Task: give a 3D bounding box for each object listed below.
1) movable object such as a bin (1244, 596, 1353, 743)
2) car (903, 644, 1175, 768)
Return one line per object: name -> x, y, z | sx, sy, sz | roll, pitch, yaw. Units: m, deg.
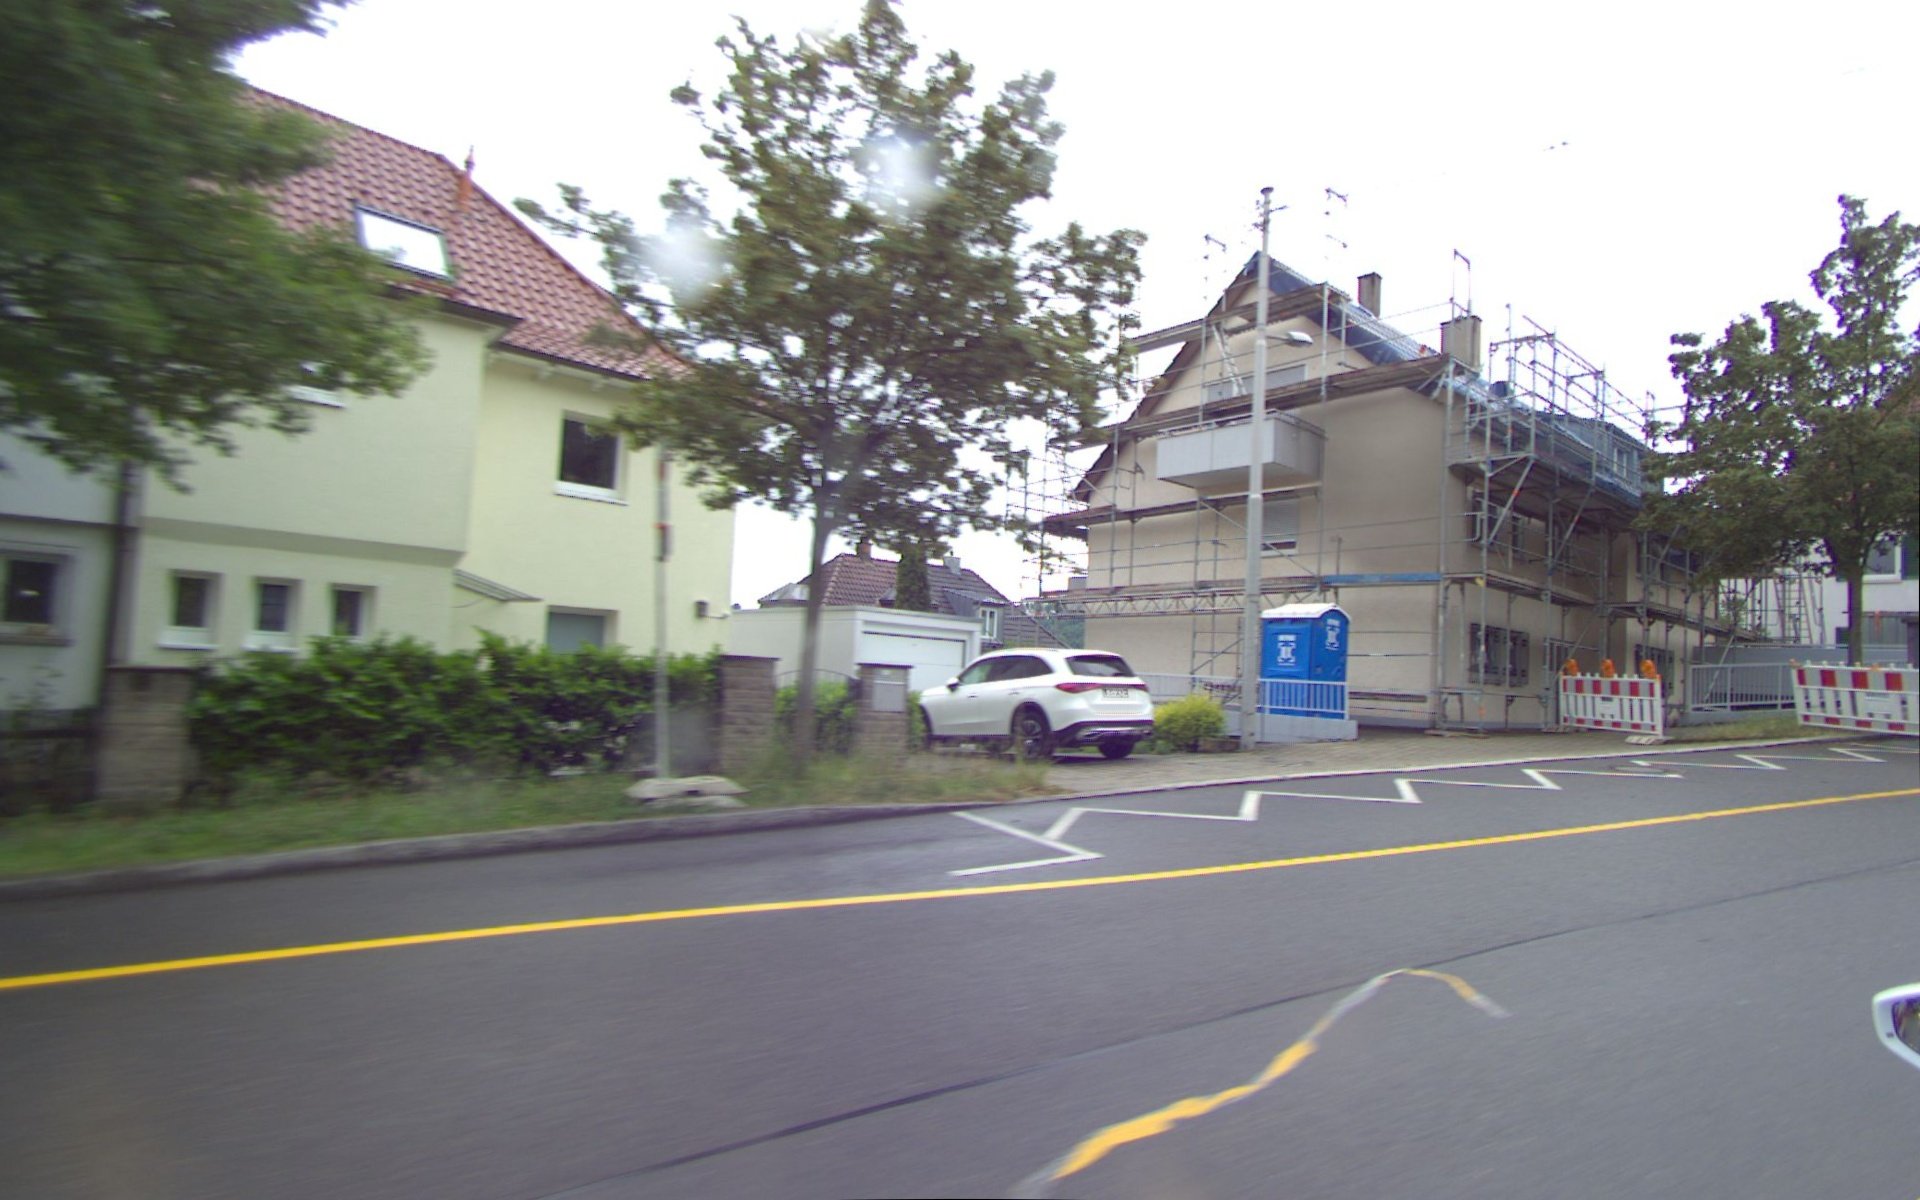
movable object such as a bin -> 6.132, 1.232, 18.218 | 1.373, 2.538, 1.304 | 2, -2, -35
car -> 1.070, 1.607, 15.526 | 1.933, 1.624, 4.168 | 3, -6, -37
